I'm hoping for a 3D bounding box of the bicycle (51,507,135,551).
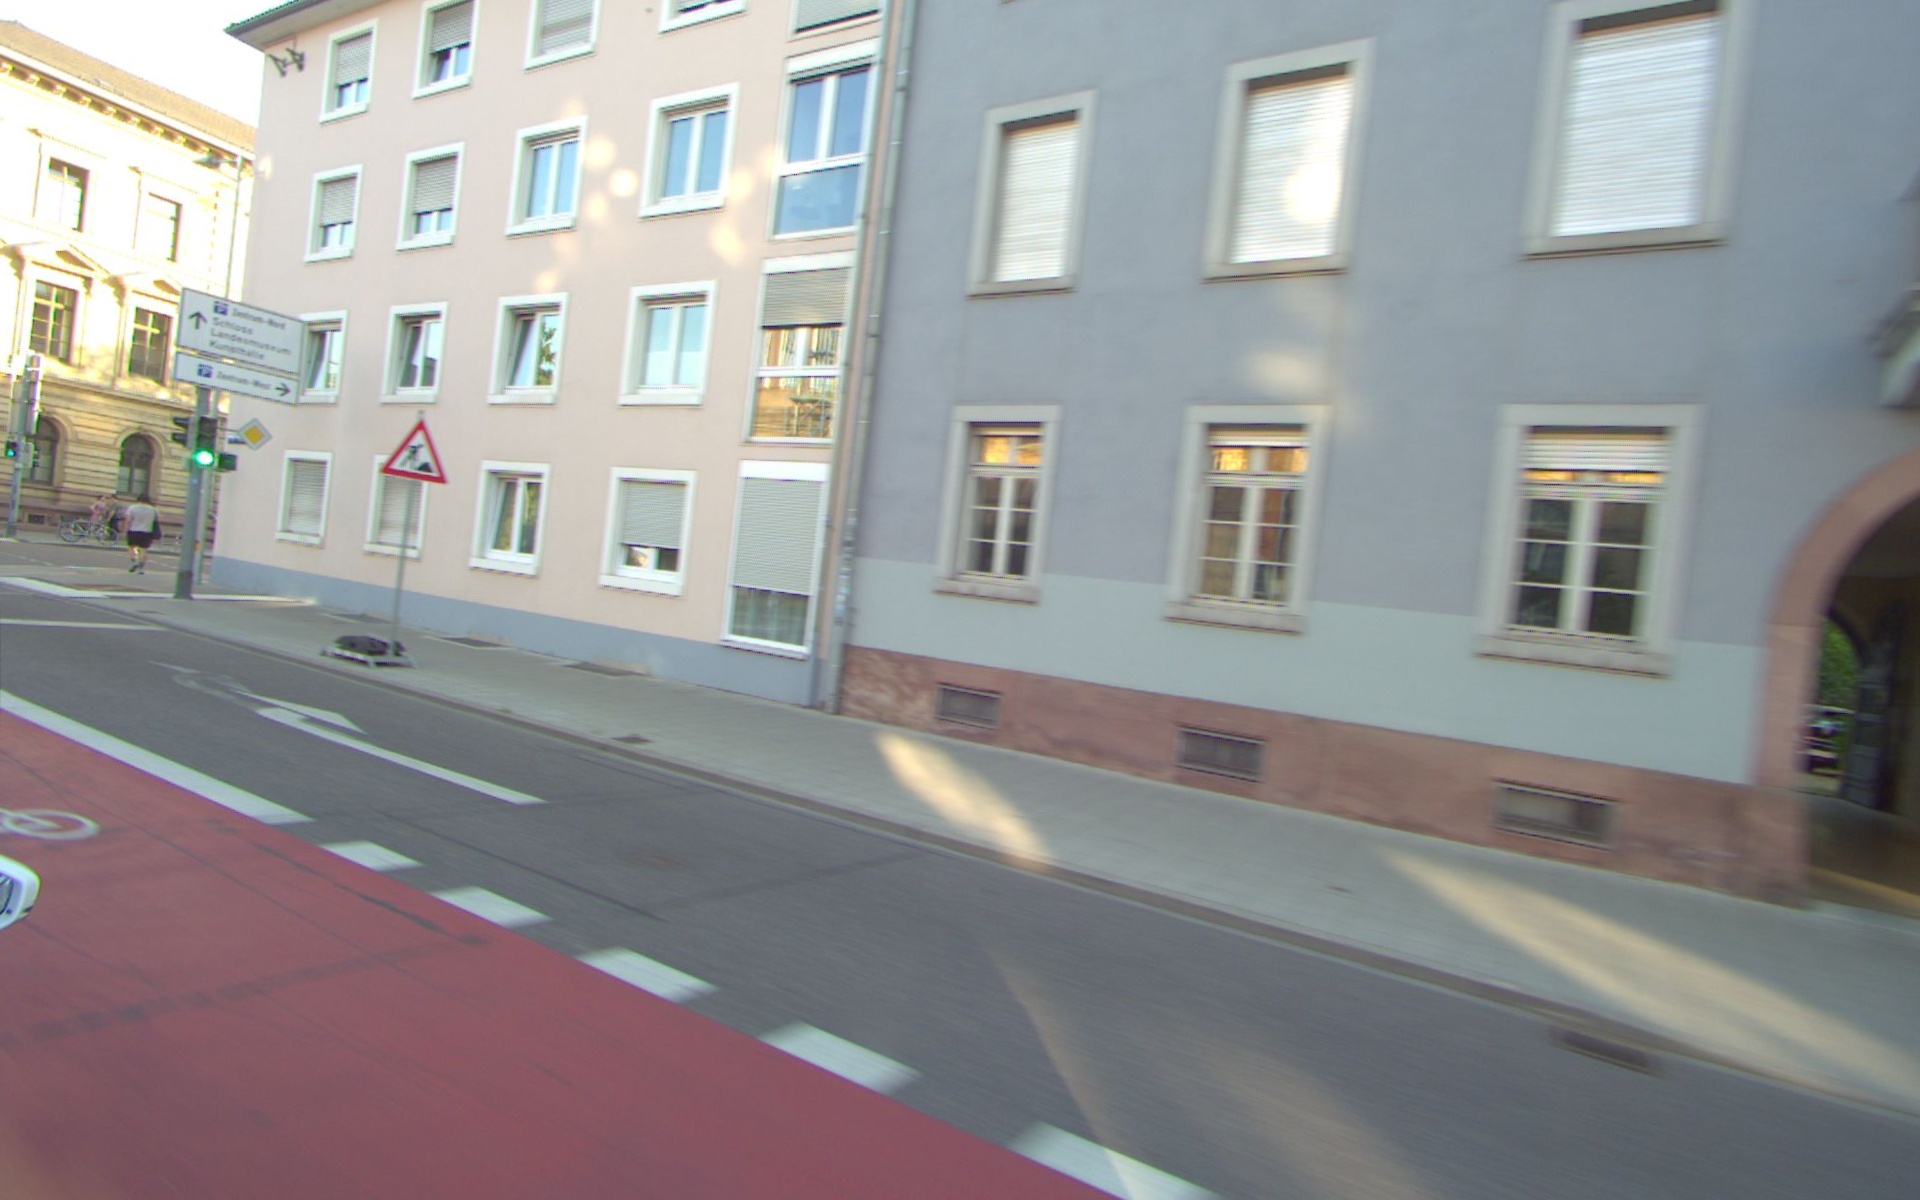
[{"bbox_3d":[-31.198,-2.532,36.234,0.847,1.222,2.054,10,1,29],"label":"bicycle"}]

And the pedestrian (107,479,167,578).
[{"bbox_3d":[-18.212,-1.580,22.251,0.783,2.038,0.982,6,1,-44],"label":"pedestrian"}]

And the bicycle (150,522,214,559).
[{"bbox_3d":[-30.065,-2.295,38.885,0.684,1.158,1.726,10,1,29],"label":"bicycle"}]

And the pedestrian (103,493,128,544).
[{"bbox_3d":[-32.646,-3.142,38.877,0.530,1.881,0.616,6,1,-34],"label":"pedestrian"}]

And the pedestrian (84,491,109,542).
[{"bbox_3d":[-33.159,-3.211,38.639,0.420,1.881,0.449,6,1,-11],"label":"pedestrian"}]
